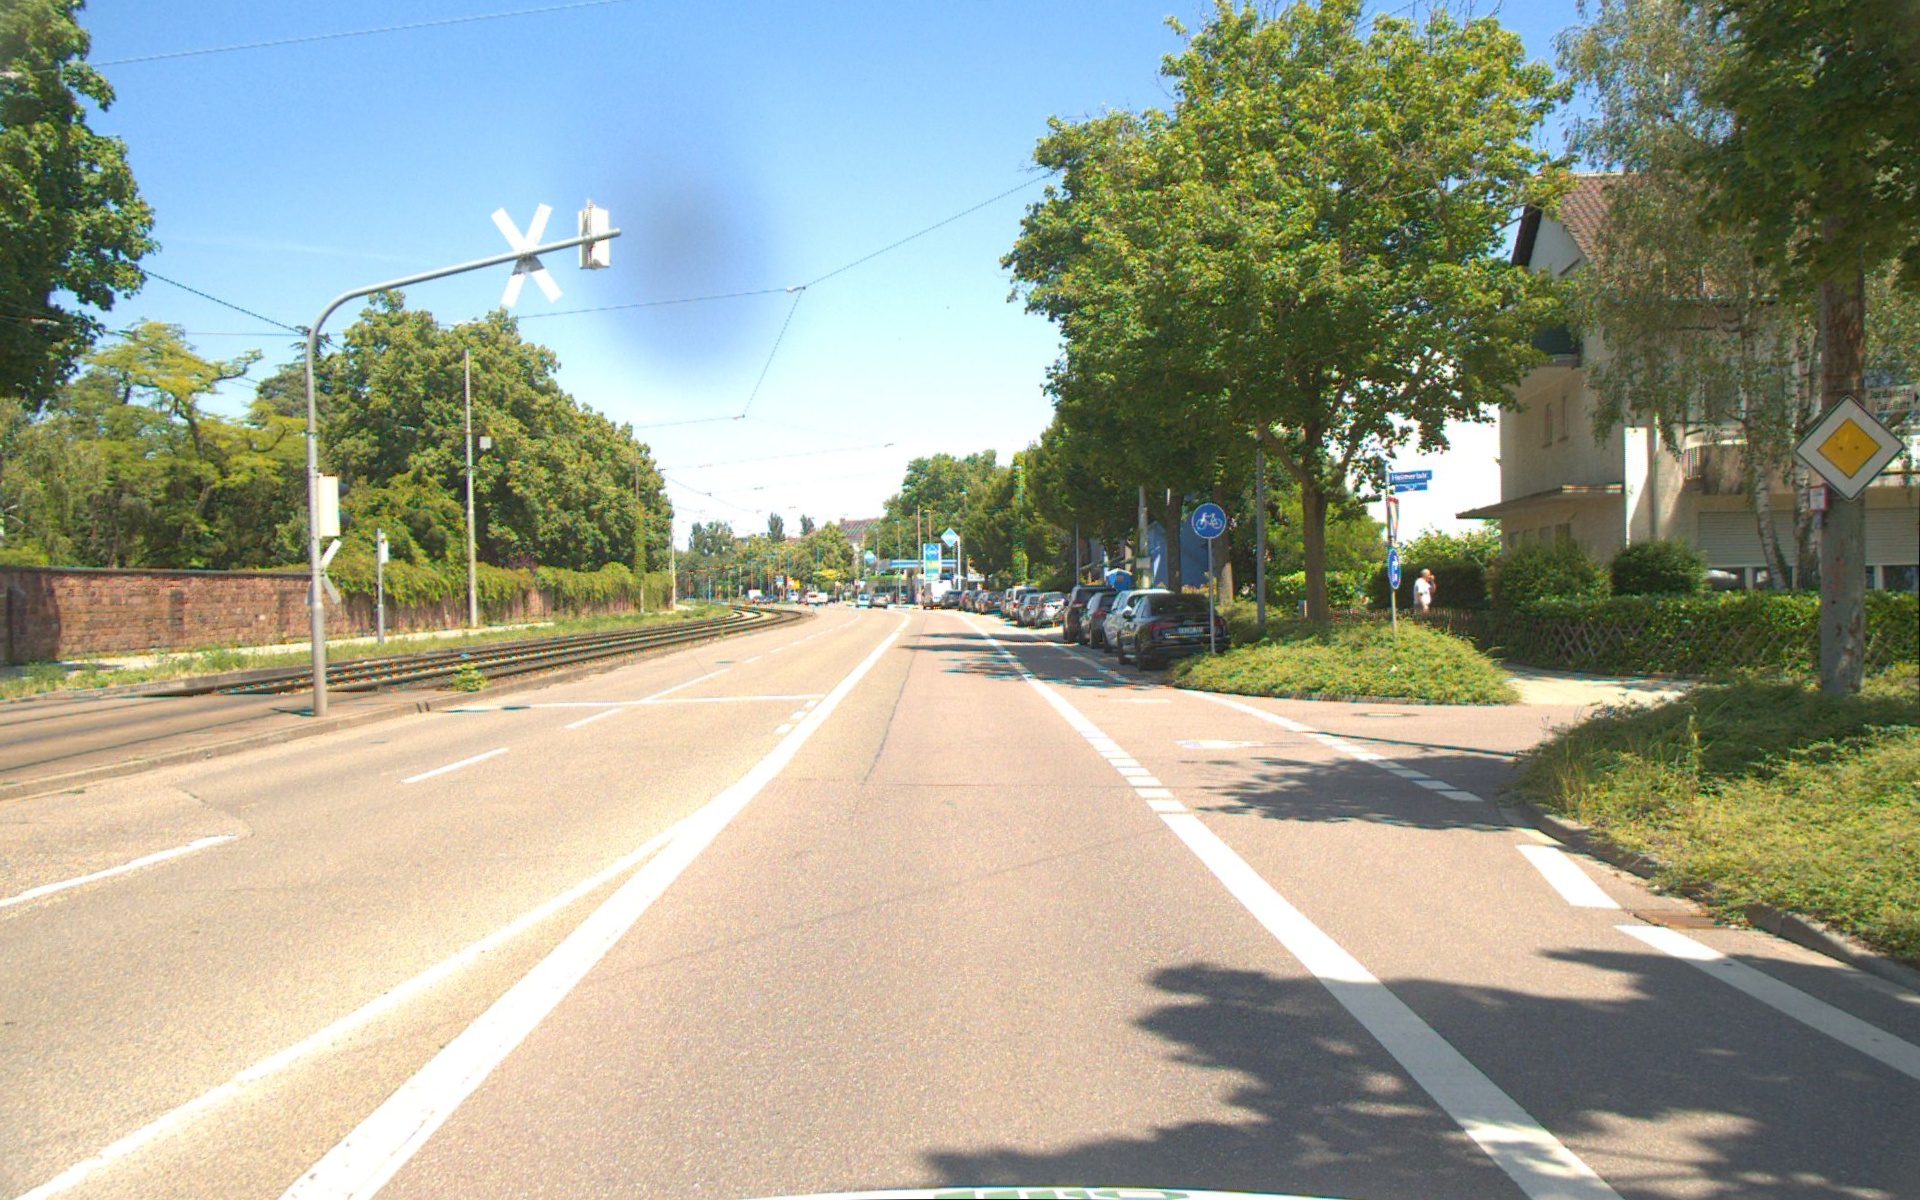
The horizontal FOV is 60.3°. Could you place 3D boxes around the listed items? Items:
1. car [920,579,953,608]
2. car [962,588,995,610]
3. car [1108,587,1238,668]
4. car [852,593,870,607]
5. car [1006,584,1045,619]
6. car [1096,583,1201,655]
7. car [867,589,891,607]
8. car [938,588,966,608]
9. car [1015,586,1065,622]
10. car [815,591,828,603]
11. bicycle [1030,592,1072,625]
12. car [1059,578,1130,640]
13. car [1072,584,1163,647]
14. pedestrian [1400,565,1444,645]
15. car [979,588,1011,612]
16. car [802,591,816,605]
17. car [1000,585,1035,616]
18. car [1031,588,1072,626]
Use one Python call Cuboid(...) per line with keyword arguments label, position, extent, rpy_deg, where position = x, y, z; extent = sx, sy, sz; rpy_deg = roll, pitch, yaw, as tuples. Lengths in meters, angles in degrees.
Cuboid(label="car", position=(-2.211, -0.571, 153.677), extent=(1.965, 2.499, 6.093), rpy_deg=(-3, 1, -11))
Cuboid(label="car", position=(1.397, -0.079, 127.736), extent=(1.676, 1.589, 4.313), rpy_deg=(-3, 1, -10))
Cuboid(label="car", position=(4.330, 0.508, 34.300), extent=(1.804, 1.461, 4.822), rpy_deg=(-3, 1, -3))
Cuboid(label="car", position=(-11.919, -0.012, 199.084), extent=(1.723, 1.658, 4.316), rpy_deg=(-3, 1, -8))
Cuboid(label="car", position=(3.690, 0.040, 93.557), extent=(1.804, 1.825, 4.352), rpy_deg=(-3, 1, -2))
Cuboid(label="car", position=(4.550, 0.420, 40.463), extent=(1.804, 1.556, 4.203), rpy_deg=(-3, 1, -3))
Cuboid(label="car", position=(-7.978, -0.183, 162.284), extent=(1.724, 1.659, 4.314), rpy_deg=(-3, 1, -10))
Cuboid(label="car", position=(-0.711, -0.170, 143.588), extent=(1.724, 1.658, 4.314), rpy_deg=(-3, 1, -10))
Cuboid(label="car", position=(3.763, 0.181, 78.579), extent=(1.804, 1.556, 4.962), rpy_deg=(-3, 1, -3))
Cuboid(label="car", position=(-21.859, -0.462, 260.882), extent=(1.724, 1.658, 4.314), rpy_deg=(-3, 1, -10))
Cuboid(label="bicycle", position=(3.939, 0.376, 71.537), extent=(1.737, 1.249, 0.684), rpy_deg=(-6, 0, 3))
Cuboid(label="car", position=(4.156, 0.231, 51.659), extent=(1.803, 1.736, 4.626), rpy_deg=(-3, 1, 1))
Cuboid(label="car", position=(4.324, 0.384, 45.978), extent=(1.804, 1.556, 4.351), rpy_deg=(-3, 1, -3))
Cuboid(label="pedestrian", position=(10.158, 0.109, 36.394), extent=(0.733, 1.752, 0.632), rpy_deg=(0, 0, -7))
Cuboid(label="car", position=(2.416, -0.017, 116.574), extent=(1.674, 1.518, 5.033), rpy_deg=(-3, 1, -5))
Cuboid(label="car", position=(-22.083, -0.346, 241.717), extent=(1.724, 1.907, 4.314), rpy_deg=(-3, 1, -10))
Cuboid(label="car", position=(3.458, 0.017, 99.737), extent=(1.803, 1.723, 4.778), rpy_deg=(-3, 1, 0))
Cuboid(label="car", position=(4.061, 0.295, 73.577), extent=(1.488, 1.556, 3.816), rpy_deg=(-3, 1, -1))
